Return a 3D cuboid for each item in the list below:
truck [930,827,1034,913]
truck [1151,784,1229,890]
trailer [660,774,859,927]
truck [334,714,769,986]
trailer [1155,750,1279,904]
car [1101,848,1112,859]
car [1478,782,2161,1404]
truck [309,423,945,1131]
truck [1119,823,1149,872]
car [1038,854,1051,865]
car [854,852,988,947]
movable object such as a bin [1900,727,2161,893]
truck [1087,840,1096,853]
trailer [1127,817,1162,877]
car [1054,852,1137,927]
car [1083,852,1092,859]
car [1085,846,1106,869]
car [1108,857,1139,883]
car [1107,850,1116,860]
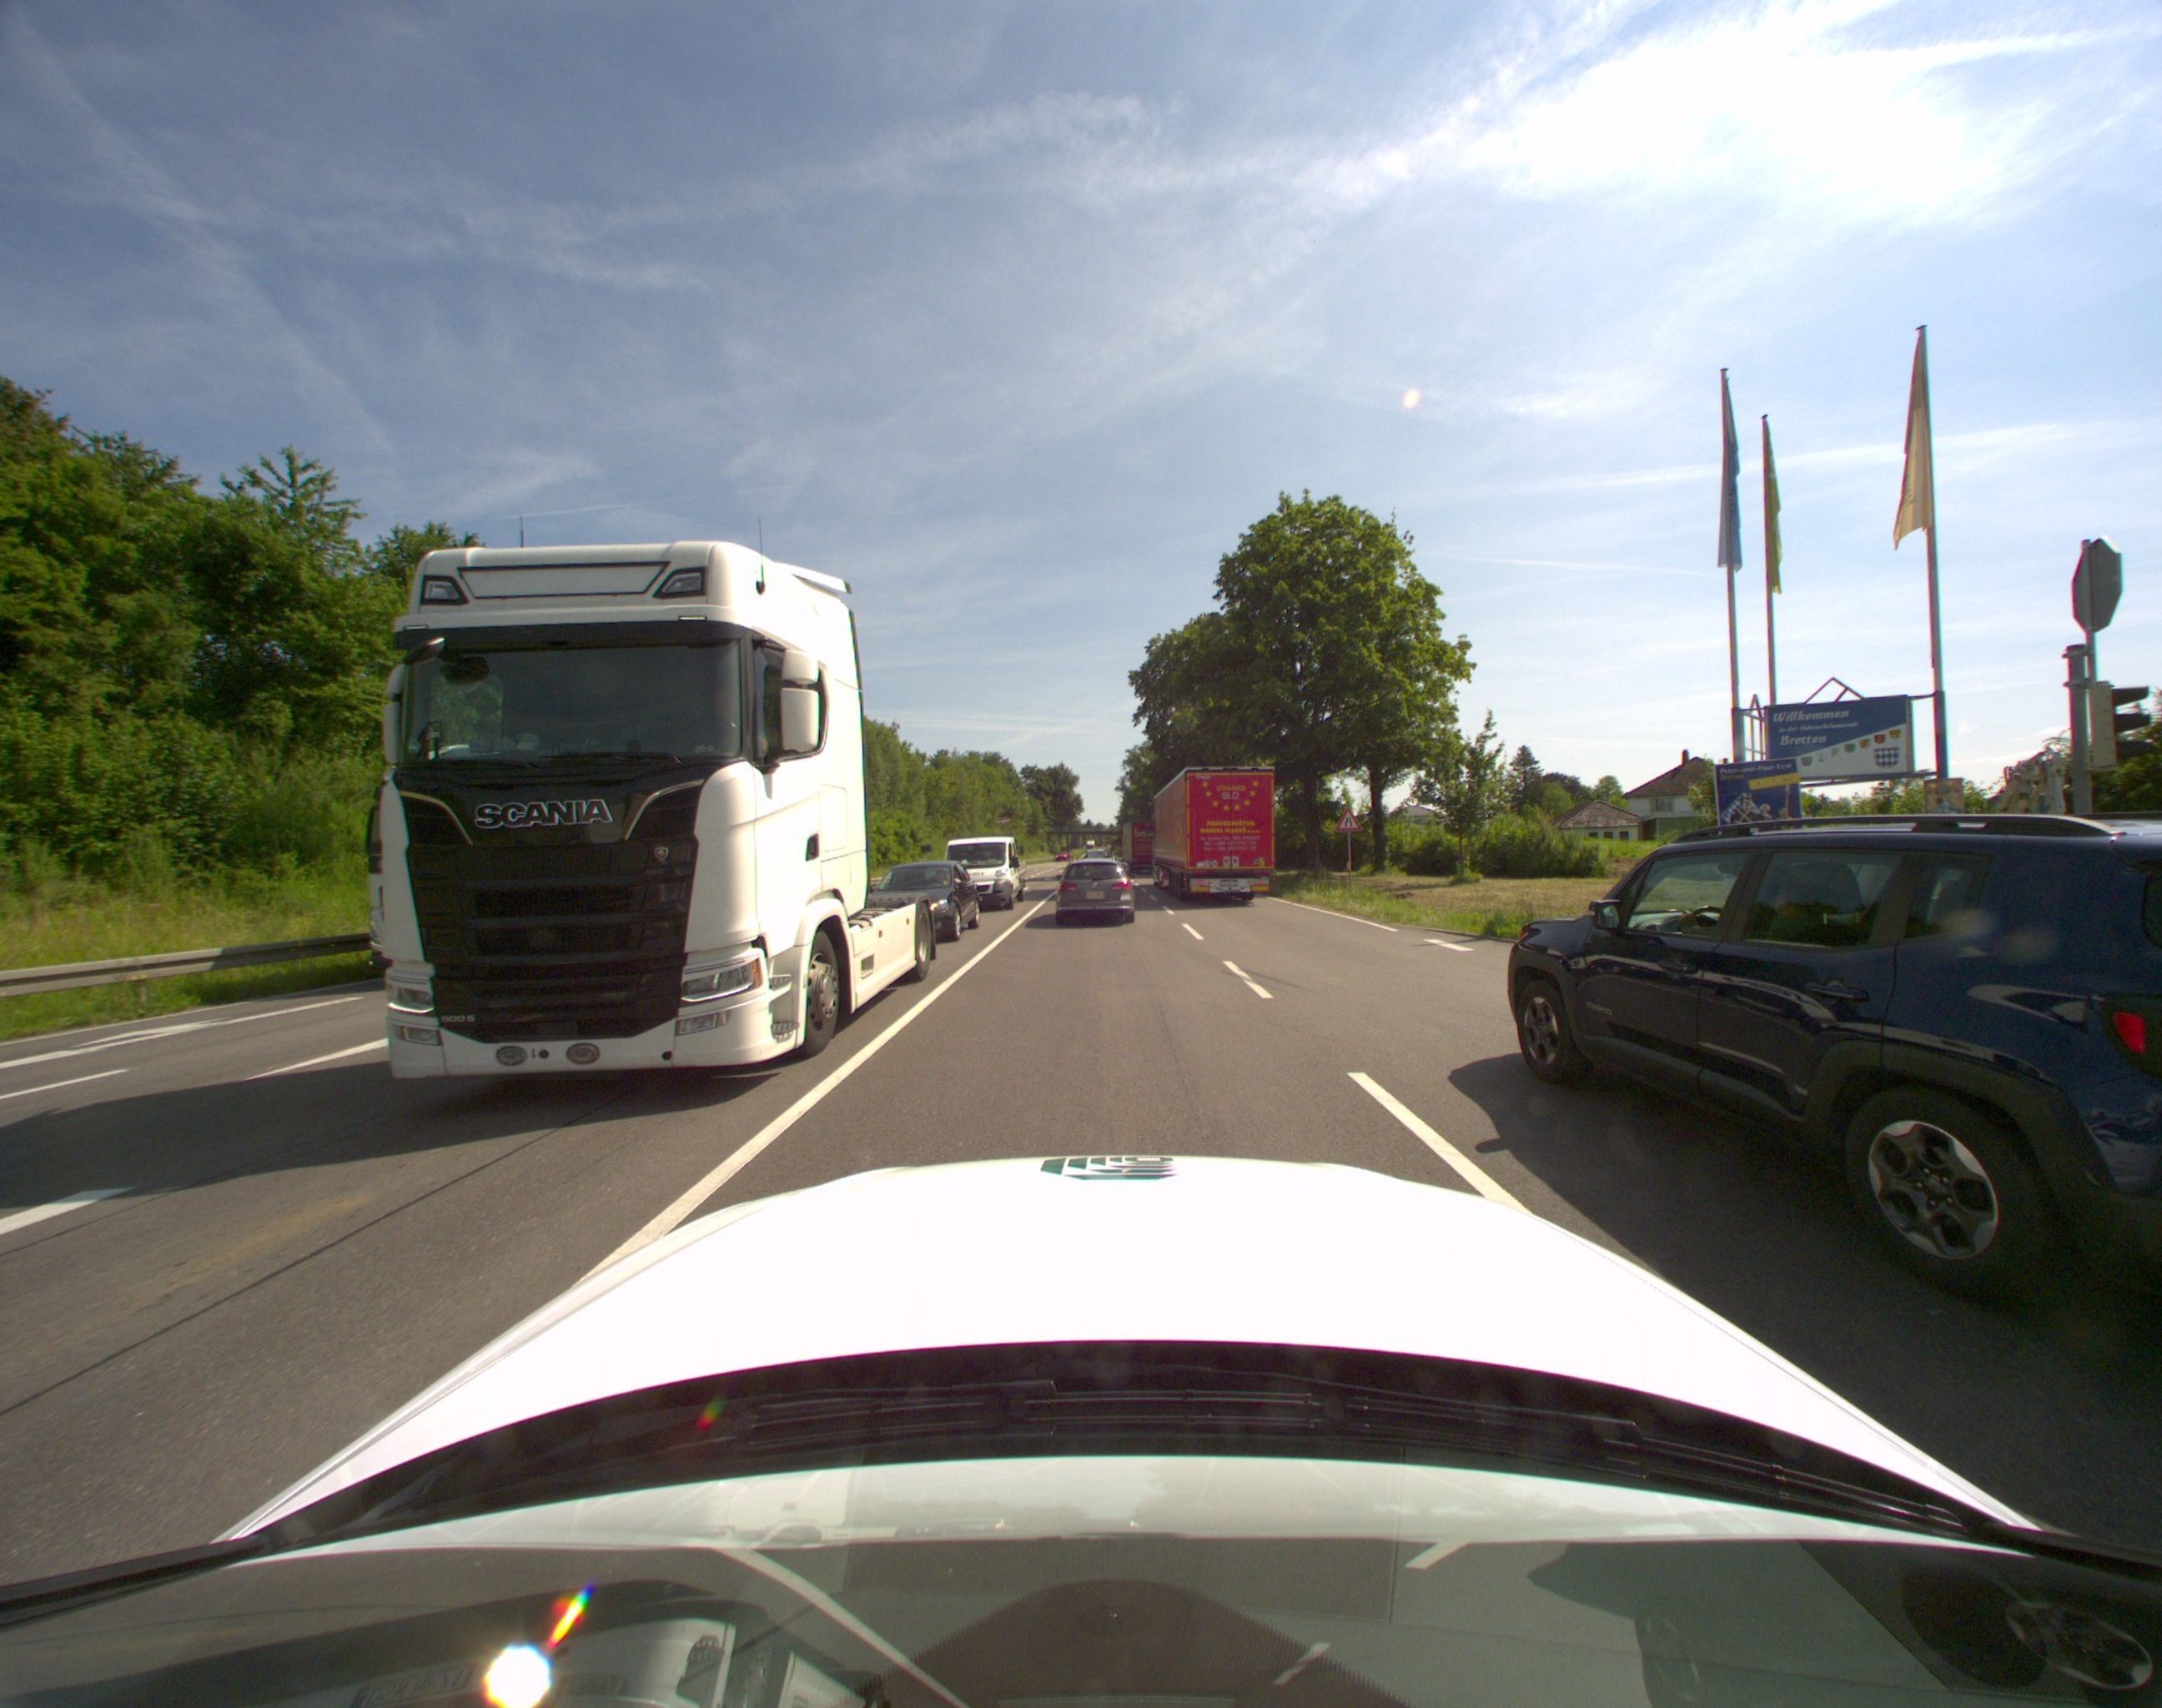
[{"bbox_3d":[-2.932,0.464,25.776,2.219,2.267,6.502,-3,0,2],"label":"truck"},{"bbox_3d":[4.697,-0.680,36.180,2.859,4.281,5.842,-1,0,2],"label":"truck"},{"bbox_3d":[-10.068,-0.070,26.841,2.831,4.069,8.756,-3,0,0],"label":"trailer"},{"bbox_3d":[-10.124,-0.028,17.549,2.820,4.116,9.682,-3,0,0],"label":"truck"},{"bbox_3d":[4.461,-0.732,29.806,2.828,4.365,13.174,-1,0,2],"label":"trailer"},{"bbox_3d":[4.992,-0.156,158.843,1.987,2.013,4.000,-3,0,1],"label":"car"},{"bbox_3d":[3.802,0.607,4.135,1.762,1.654,4.004,-3,0,4],"label":"car"},{"bbox_3d":[-3.213,-0.454,7.958,2.529,4.088,6.265,-3,-1,0],"label":"truck"},{"bbox_3d":[4.770,-0.554,73.275,2.396,4.128,5.525,-3,-1,3],"label":"truck"},{"bbox_3d":[-6.296,0.889,140.565,1.966,1.796,4.808,-3,0,0],"label":"car"},{"bbox_3d":[-2.997,0.802,16.125,1.705,1.551,4.110,-3,0,1],"label":"car"},{"bbox_3d":[22.234,-0.898,19.441,2.863,3.208,6.748,-3,-1,38],"label":"movable object such as a bin"},{"bbox_3d":[3.335,-2.459,259.898,2.764,3.931,9.466,-2,0,0],"label":"truck"},{"bbox_3d":[5.028,-0.480,66.484,2.385,4.243,13.087,-3,0,3],"label":"trailer"},{"bbox_3d":[0.337,0.760,19.312,1.685,1.513,4.000,-3,0,1],"label":"car"},{"bbox_3d":[1.650,0.343,195.567,1.955,1.415,4.004,-2,0,4],"label":"car"},{"bbox_3d":[1.300,0.332,72.444,1.764,1.936,3.978,-3,0,1],"label":"car"},{"bbox_3d":[2.670,1.007,51.557,1.764,1.513,4.000,-3,0,1],"label":"car"},{"bbox_3d":[6.953,0.219,185.265,1.987,2.013,4.000,-3,0,1],"label":"car"}]
